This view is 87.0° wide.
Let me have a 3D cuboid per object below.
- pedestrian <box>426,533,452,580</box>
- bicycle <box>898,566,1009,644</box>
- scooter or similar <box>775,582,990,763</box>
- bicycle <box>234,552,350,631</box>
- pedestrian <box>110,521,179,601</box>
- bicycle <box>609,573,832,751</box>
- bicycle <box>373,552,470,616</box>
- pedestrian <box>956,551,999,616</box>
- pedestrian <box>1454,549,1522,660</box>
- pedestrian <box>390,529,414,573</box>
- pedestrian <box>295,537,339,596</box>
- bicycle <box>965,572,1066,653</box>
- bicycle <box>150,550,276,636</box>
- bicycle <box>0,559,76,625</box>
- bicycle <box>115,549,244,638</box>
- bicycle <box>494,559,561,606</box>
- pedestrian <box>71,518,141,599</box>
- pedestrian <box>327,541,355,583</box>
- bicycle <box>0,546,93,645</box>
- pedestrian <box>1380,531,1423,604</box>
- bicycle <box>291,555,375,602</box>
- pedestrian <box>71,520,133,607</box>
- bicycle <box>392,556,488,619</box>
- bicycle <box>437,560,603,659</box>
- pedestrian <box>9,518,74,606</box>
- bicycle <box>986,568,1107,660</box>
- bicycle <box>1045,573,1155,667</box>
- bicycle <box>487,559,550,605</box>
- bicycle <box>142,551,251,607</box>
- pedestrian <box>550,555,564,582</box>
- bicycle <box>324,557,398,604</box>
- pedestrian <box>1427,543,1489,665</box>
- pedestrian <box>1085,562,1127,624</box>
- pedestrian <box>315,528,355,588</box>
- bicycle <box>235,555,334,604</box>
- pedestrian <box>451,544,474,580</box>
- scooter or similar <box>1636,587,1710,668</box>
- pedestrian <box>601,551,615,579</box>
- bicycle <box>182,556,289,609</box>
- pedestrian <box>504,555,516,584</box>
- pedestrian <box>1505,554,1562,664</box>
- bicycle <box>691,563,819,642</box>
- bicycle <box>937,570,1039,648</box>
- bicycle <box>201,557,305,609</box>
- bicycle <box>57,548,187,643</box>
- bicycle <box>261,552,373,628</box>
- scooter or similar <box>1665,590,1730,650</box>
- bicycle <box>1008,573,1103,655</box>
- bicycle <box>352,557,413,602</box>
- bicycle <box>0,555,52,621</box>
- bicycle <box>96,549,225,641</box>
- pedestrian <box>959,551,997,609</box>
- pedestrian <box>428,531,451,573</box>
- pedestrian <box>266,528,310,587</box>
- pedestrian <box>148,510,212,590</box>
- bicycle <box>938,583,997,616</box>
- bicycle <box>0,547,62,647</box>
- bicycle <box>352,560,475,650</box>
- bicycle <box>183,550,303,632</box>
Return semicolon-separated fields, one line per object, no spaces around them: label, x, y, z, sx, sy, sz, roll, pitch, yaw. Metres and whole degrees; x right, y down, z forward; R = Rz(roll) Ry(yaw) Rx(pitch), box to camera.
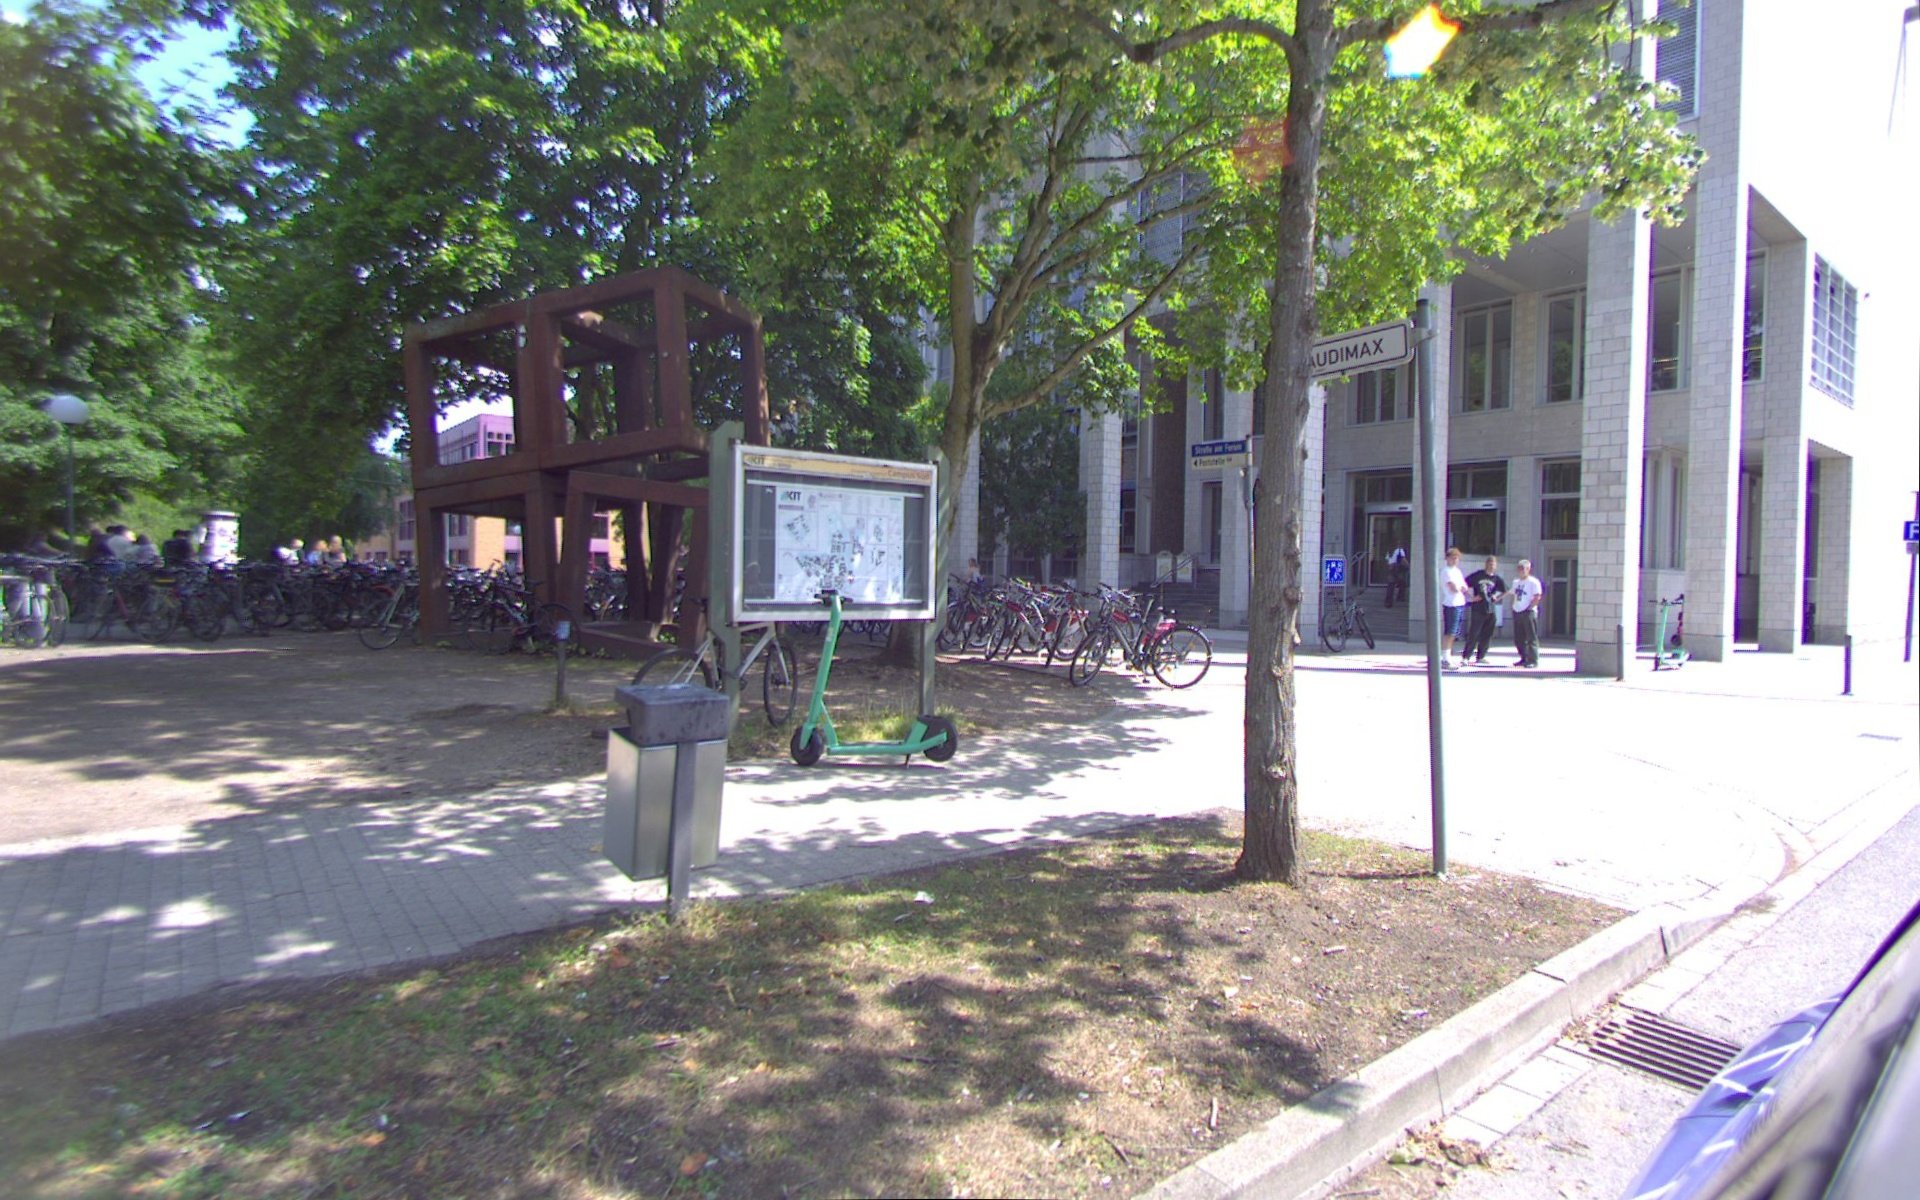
pedestrian;-18.104;-1.495;35.167;0.730;1.589;0.722;1;1;-31
bicycle;-0.086;0.089;15.500;1.663;1.099;0.482;2;2;-34
scooter or similar;-0.535;0.484;6.838;1.333;1.128;0.498;3;1;-14
bicycle;-10.820;-0.148;16.393;1.817;1.185;0.412;2;1;13
pedestrian;-18.954;-0.909;23.544;0.825;1.797;0.994;2;1;-9
bicycle;-1.684;0.380;7.405;0.623;1.097;1.673;0;3;28
bicycle;-10.601;-0.329;19.926;1.814;1.185;0.345;2;1;7
pedestrian;0.482;-0.459;27.671;0.931;1.762;0.741;2;1;32
pedestrian;8.934;0.061;17.160;0.796;1.819;0.619;1;1;8
pedestrian;-20.746;-1.806;37.623;0.730;1.589;0.722;1;1;-31
pedestrian;-17.826;-0.921;28.066;0.731;1.589;0.720;2;1;3
bicycle;0.808;0.185;14.615;1.446;1.099;0.461;2;2;-38
bicycle;-11.109;-0.113;15.051;1.817;1.185;0.412;2;1;13
bicycle;-15.327;-0.148;16.362;1.872;0.991;0.478;2;2;9
bicycle;-11.128;-0.110;14.424;1.817;1.185;0.387;2;1;13
bicycle;-10.497;-0.419;24.567;1.447;1.097;0.352;0;2;-43
pedestrian;-19.726;-0.953;23.399;0.825;1.797;0.994;2;1;-9
pedestrian;-23.523;-1.457;38.451;0.680;1.530;0.514;4;3;8
bicycle;-11.887;-0.085;12.856;1.819;1.185;0.351;2;1;15
pedestrian;10.966;-0.805;25.136;0.673;1.755;0.689;1;1;-38
bicycle;-14.340;-0.507;23.140;1.876;0.991;0.477;3;2;14
pedestrian;-18.394;-0.777;21.704;0.729;1.797;0.722;2;1;-13
bicycle;-10.405;-0.263;20.253;1.814;1.185;0.345;2;1;7
bicycle;-5.396;0.087;12.427;1.897;1.123;0.630;2;2;15
pedestrian;-19.424;-0.807;21.420;0.729;1.797;0.722;2;1;-13
bicycle;1.177;0.195;13.736;1.494;1.155;0.493;3;2;-19
bicycle;1.860;0.260;13.343;1.464;1.155;0.561;2;2;-42
bicycle;-11.055;-0.448;25.362;0.351;1.097;1.451;2;2;38
bicycle;-14.616;-0.417;19.388;1.871;0.991;0.478;2;2;7
pedestrian;-23.815;-1.876;59.844;0.714;1.530;1.210;3;3;-22
bicycle;-14.361;-0.468;24.269;1.442;1.097;0.479;1;-1;-6
pedestrian;8.062;0.045;16.378;0.674;1.914;0.686;-1;2;-41
pedestrian;4.198;-0.218;29.086;0.734;1.762;0.939;0;1;-30
pedestrian;-19.358;-1.295;31.353;0.732;1.811;0.719;2;1;8
bicycle;-14.640;-0.456;21.942;1.869;0.991;0.478;2;2;2
pedestrian;-21.648;-1.654;44.007;0.680;1.530;0.514;4;3;8
scooter or similar;11.723;0.425;16.628;1.484;1.226;0.564;0;4;-40
pedestrian;-18.828;-1.879;54.129;0.445;1.446;0.593;4;3;13
bicycle;-14.647;-0.367;20.478;1.869;0.991;0.478;2;2;2
pedestrian;-18.930;-1.276;42.563;0.379;1.227;0.403;1;1;-31
pedestrian;9.407;0.134;16.610;0.532;1.750;0.614;0;2;-37
bicycle;-3.074;0.051;15.251;1.791;1.091;0.464;3;2;-31
bicycle;0.434;0.143;15.291;1.486;1.099;0.482;2;2;-34
bicycle;-14.729;-0.357;21.108;1.869;0.991;0.478;2;2;2
bicycle;-11.261;-0.077;13.595;1.819;1.185;0.351;2;1;15
bicycle;-10.721;-0.181;16.879;1.817;1.185;0.412;2;1;13
scooter or similar;16.570;0.429;22.773;0.556;1.226;1.507;1;3;11
bicycle;1.379;0.207;14.470;1.415;1.099;0.460;2;2;-41
bicycle;-14.514;-0.516;25.414;1.452;1.097;0.451;0;-1;18
bicycle;-15.368;-0.220;15.970;1.872;0.991;0.478;2;2;9
bicycle;-10.998;-0.080;13.920;1.819;1.185;0.386;2;1;15
pedestrian;0.567;-0.620;31.424;0.931;1.762;0.740;2;1;33
pedestrian;-20.350;-1.884;39.569;0.730;1.589;0.722;1;1;-31
pedestrian;-18.600;-1.166;28.028;0.730;1.589;0.721;2;1;-1
pedestrian;-18.212;-1.164;23.648;0.838;1.797;0.813;2;1;-4
bicycle;0.225;-0.025;28.131;1.742;0.911;0.337;0;1;-34
bicycle;-11.970;-0.070;12.508;1.819;1.185;0.351;2;1;15
bicycle;-7.338;0.028;13.671;0.469;1.123;1.663;1;3;14
bicycle;-11.166;-0.152;15.760;1.817;1.185;0.412;2;1;13
